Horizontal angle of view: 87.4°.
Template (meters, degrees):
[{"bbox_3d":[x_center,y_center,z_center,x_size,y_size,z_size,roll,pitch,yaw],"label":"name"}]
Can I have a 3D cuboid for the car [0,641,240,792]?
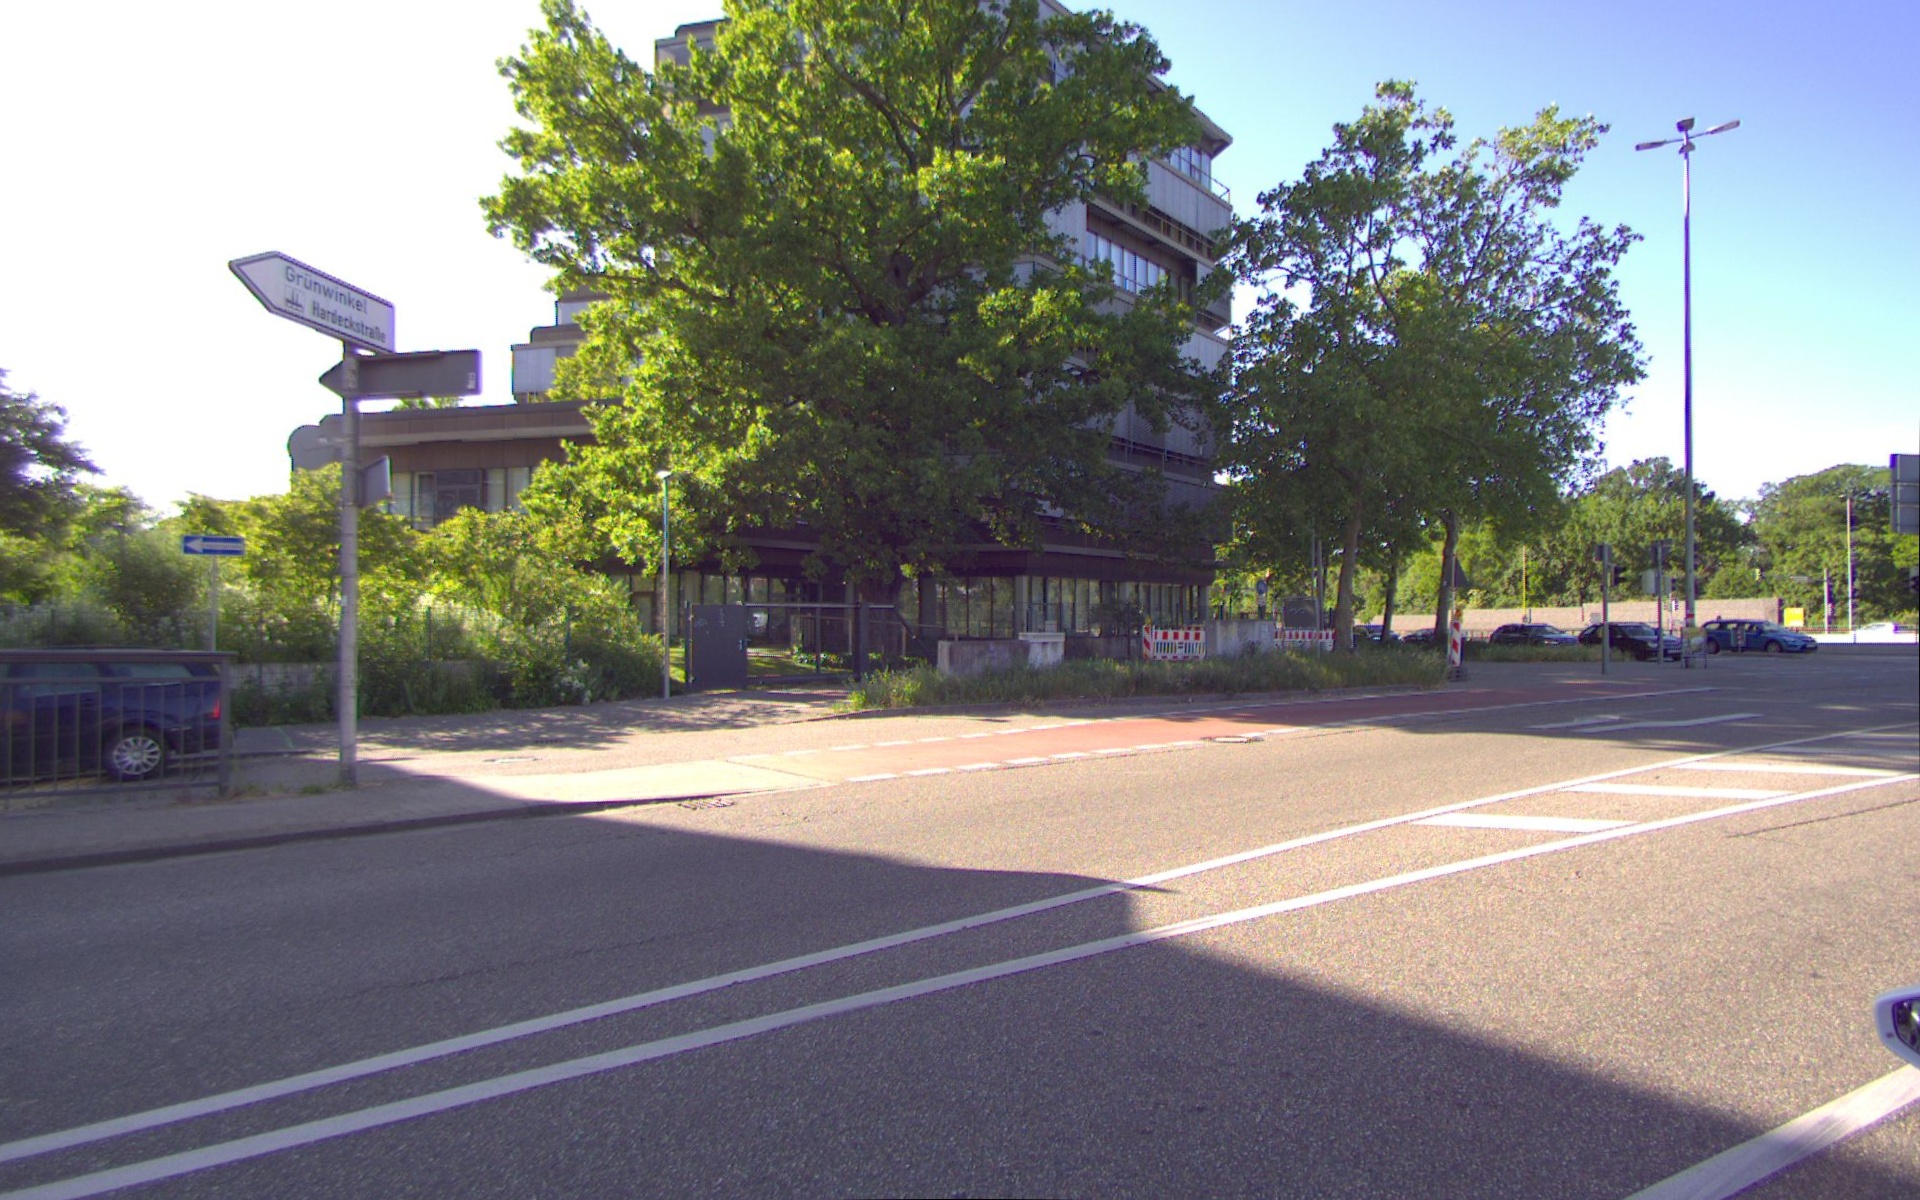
[{"bbox_3d":[-10.761,1.317,11.244,4.339,1.528,1.642,-1,-3,-38],"label":"car"}]

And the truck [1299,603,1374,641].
[{"bbox_3d":[24.851,1.453,66.673,2.121,2.391,7.515,0,-1,-1],"label":"truck"}]

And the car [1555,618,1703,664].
[{"bbox_3d":[25.804,1.539,38.975,1.918,1.643,4.773,0,-1,-13],"label":"car"}]

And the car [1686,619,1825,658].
[{"bbox_3d":[34.323,1.622,43.499,1.919,1.561,4.443,0,-1,-16],"label":"car"}]

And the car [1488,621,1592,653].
[{"bbox_3d":[26.085,1.642,45.383,1.844,1.376,4.507,0,-1,-4],"label":"car"}]
